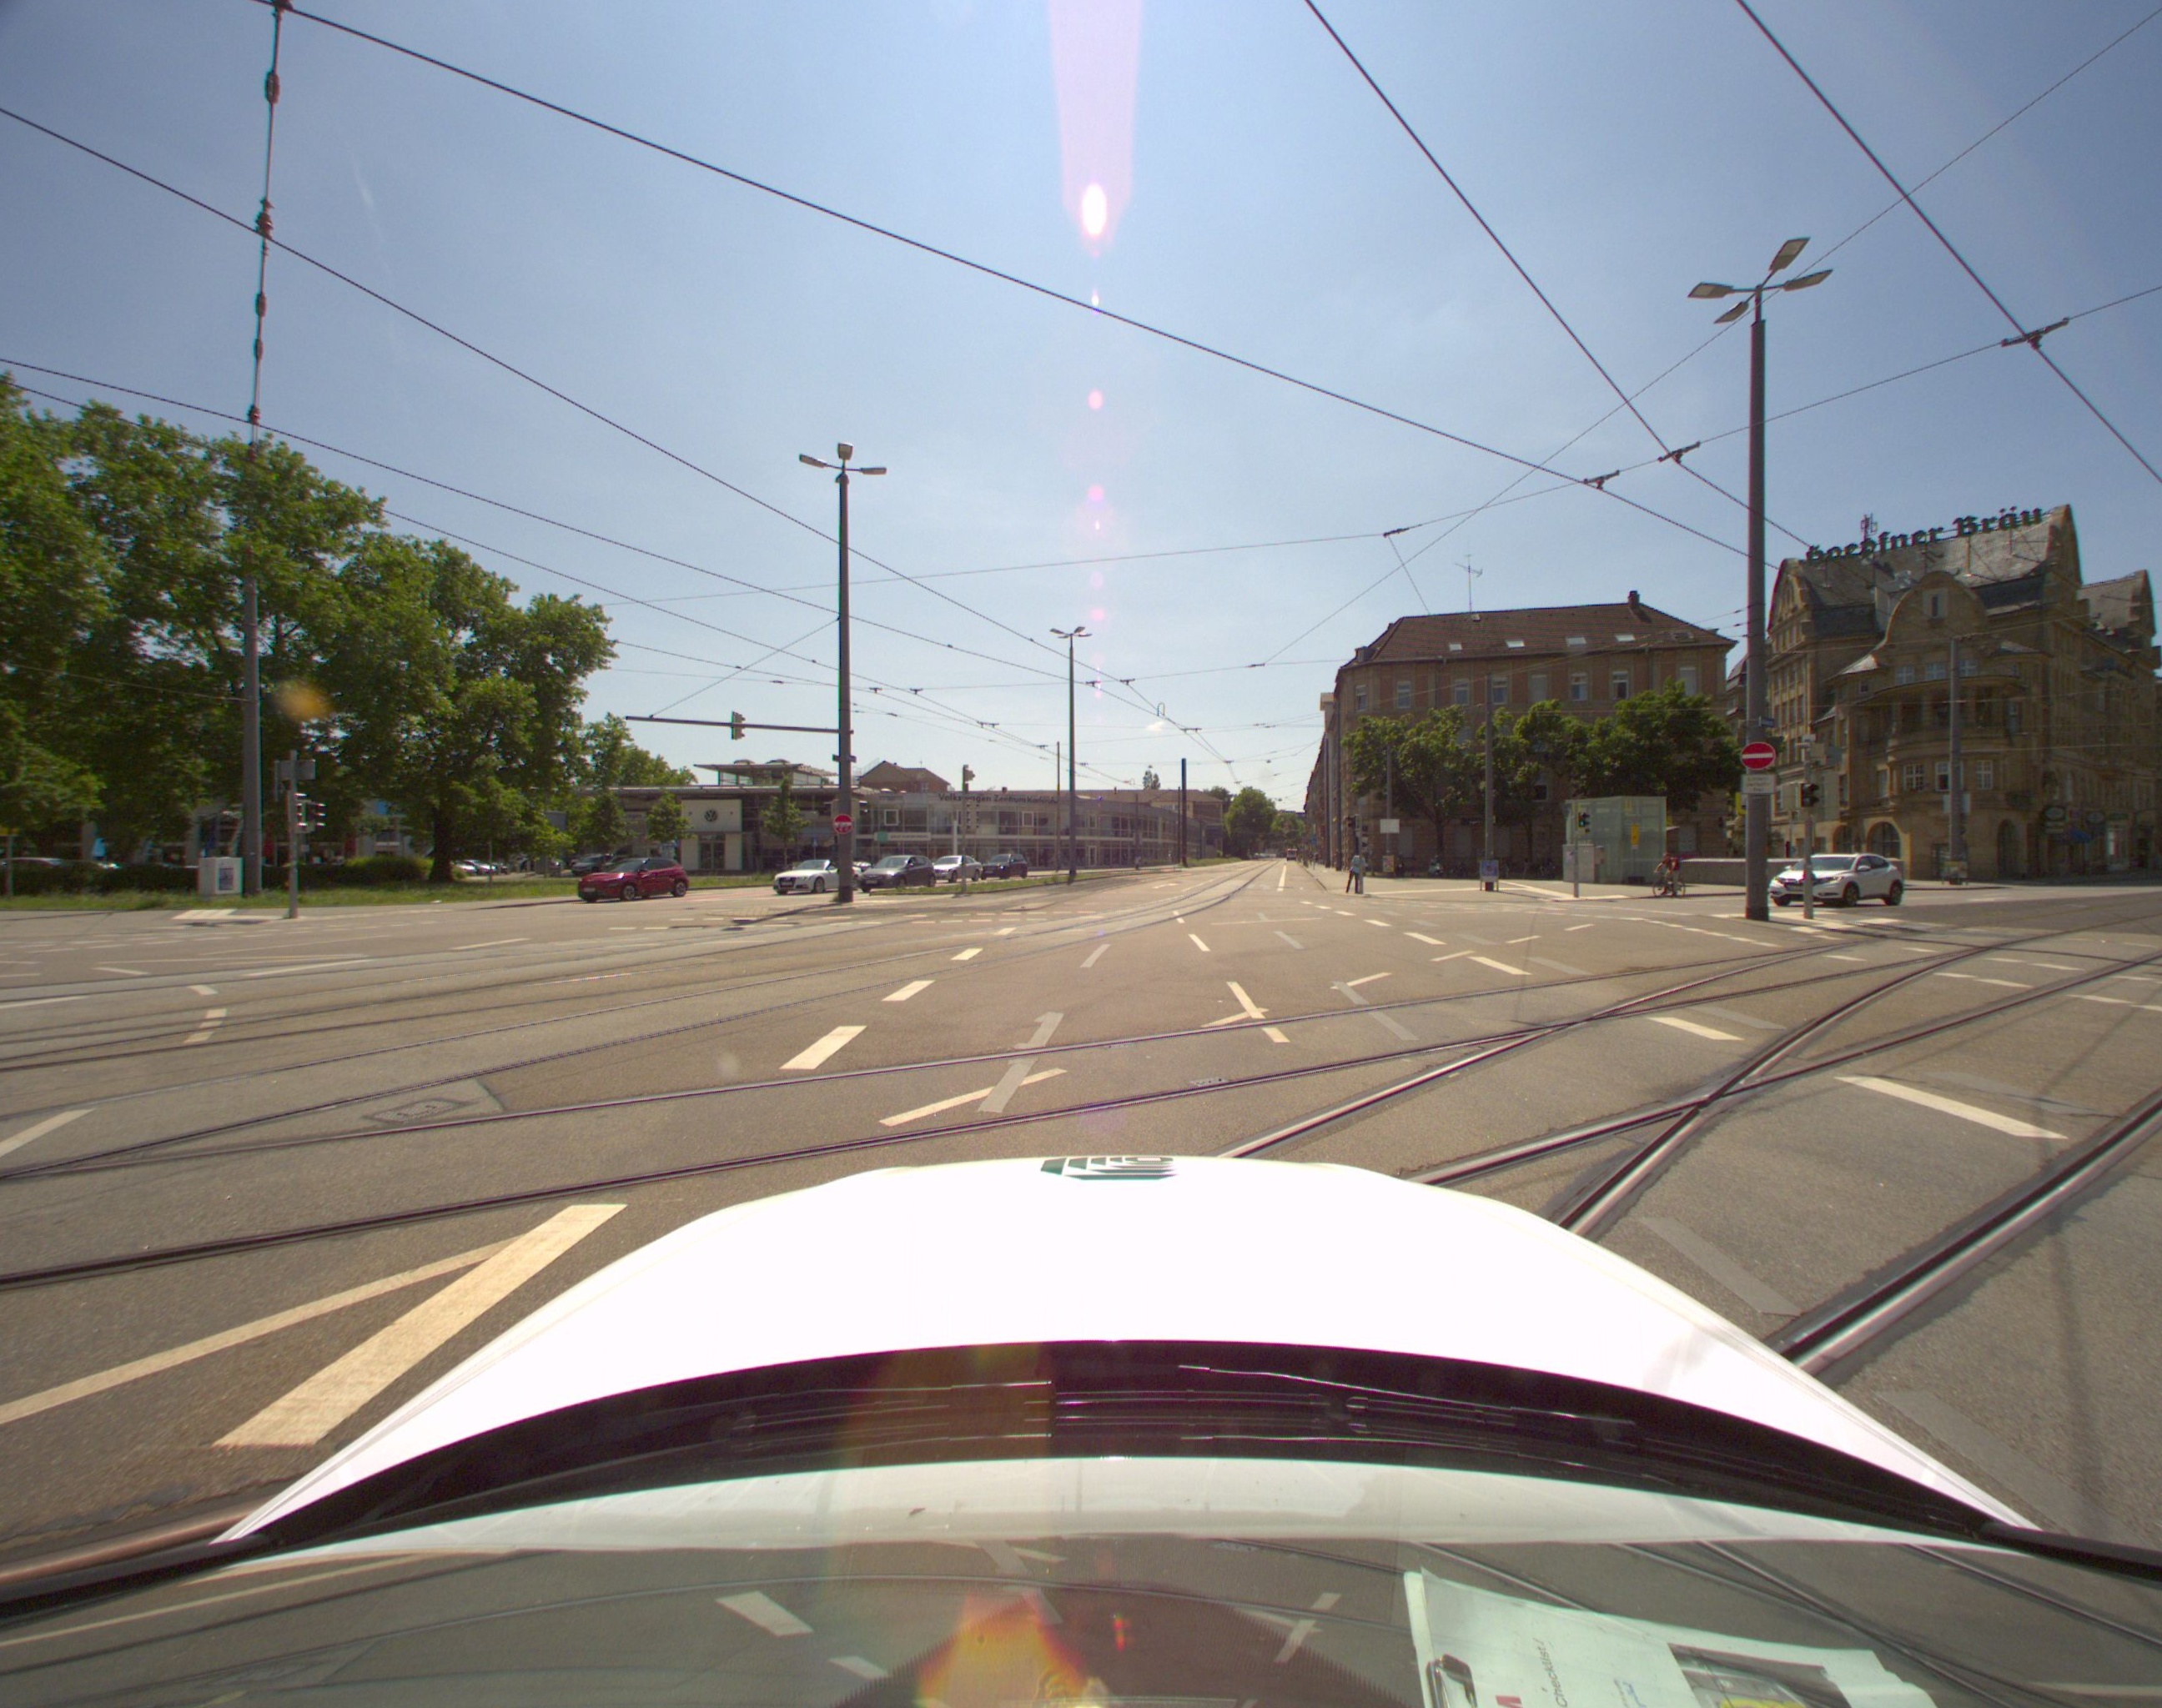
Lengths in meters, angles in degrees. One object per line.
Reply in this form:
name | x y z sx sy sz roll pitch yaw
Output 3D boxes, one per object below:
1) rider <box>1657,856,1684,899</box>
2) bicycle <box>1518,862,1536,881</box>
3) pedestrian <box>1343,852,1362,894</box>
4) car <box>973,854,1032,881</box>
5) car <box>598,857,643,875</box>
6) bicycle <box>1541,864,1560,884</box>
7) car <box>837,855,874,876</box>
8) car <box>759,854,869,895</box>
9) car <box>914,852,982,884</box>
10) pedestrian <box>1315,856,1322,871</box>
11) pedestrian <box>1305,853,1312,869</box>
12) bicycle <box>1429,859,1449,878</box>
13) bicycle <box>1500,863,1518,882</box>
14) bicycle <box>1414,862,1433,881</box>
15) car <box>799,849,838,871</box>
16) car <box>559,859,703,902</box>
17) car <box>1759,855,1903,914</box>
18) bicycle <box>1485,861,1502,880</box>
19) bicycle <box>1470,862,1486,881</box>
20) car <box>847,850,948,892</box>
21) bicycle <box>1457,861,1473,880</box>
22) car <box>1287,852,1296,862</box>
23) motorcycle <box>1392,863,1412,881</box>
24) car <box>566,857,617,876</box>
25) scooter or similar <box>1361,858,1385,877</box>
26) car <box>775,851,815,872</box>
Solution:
rider | 22.250 0.876 30.726 0.878 1.601 0.559 0 0 -32
bicycle | 26.688 1.044 48.723 0.547 1.120 1.937 0 0 16
pedestrian | 11.030 0.755 33.040 0.462 1.708 0.636 0 0 -15
car | -4.996 0.824 52.645 2.063 1.682 4.867 0 0 17
car | -39.669 1.020 70.262 1.764 1.510 4.319 0 0 -5
bicycle | 27.865 1.171 48.369 0.547 1.120 1.828 0 0 16
car | -19.226 1.010 69.551 1.914 1.707 3.999 2 -1 0
car | -10.875 0.770 33.633 2.062 1.580 4.863 0 0 13
car | -7.373 0.748 45.774 1.978 1.739 4.563 0 0 17
pedestrian | 31.833 1.265 109.217 0.762 2.014 0.666 2 -1 11
pedestrian | 30.557 0.932 109.272 0.762 2.014 0.666 2 -1 11
bicycle | 21.657 0.888 49.299 0.440 1.146 2.097 2 -1 6
bicycle | 25.623 1.087 48.766 0.547 1.120 1.878 0 0 16
bicycle | 20.571 1.056 48.958 0.548 1.120 1.823 0 0 6
car | -22.294 0.529 69.286 1.914 1.707 3.999 2 -1 0
car | -16.783 0.939 30.718 1.980 1.465 4.863 0 0 13
car | 22.352 0.850 24.251 4.199 1.605 1.681 0 0 -25
bicycle | 24.388 0.955 48.217 0.547 1.120 1.897 0 0 16
bicycle | 23.578 1.031 48.400 0.547 1.120 1.828 0 0 16
car | -7.522 0.659 33.978 1.978 1.637 4.867 0 0 17
bicycle | 22.904 0.957 48.616 0.547 1.120 1.828 0 0 16
car | 45.638 0.689 176.508 1.979 2.181 4.385 2 -1 14
motorcycle | 19.326 1.066 49.066 0.577 1.074 1.948 0 0 3
car | -42.295 1.066 70.414 1.761 1.510 4.326 0 0 0
scooter or similar | 18.615 0.865 51.887 1.801 1.181 0.592 0 0 -39
car | -24.290 0.659 69.260 1.914 1.707 3.999 2 -1 0
